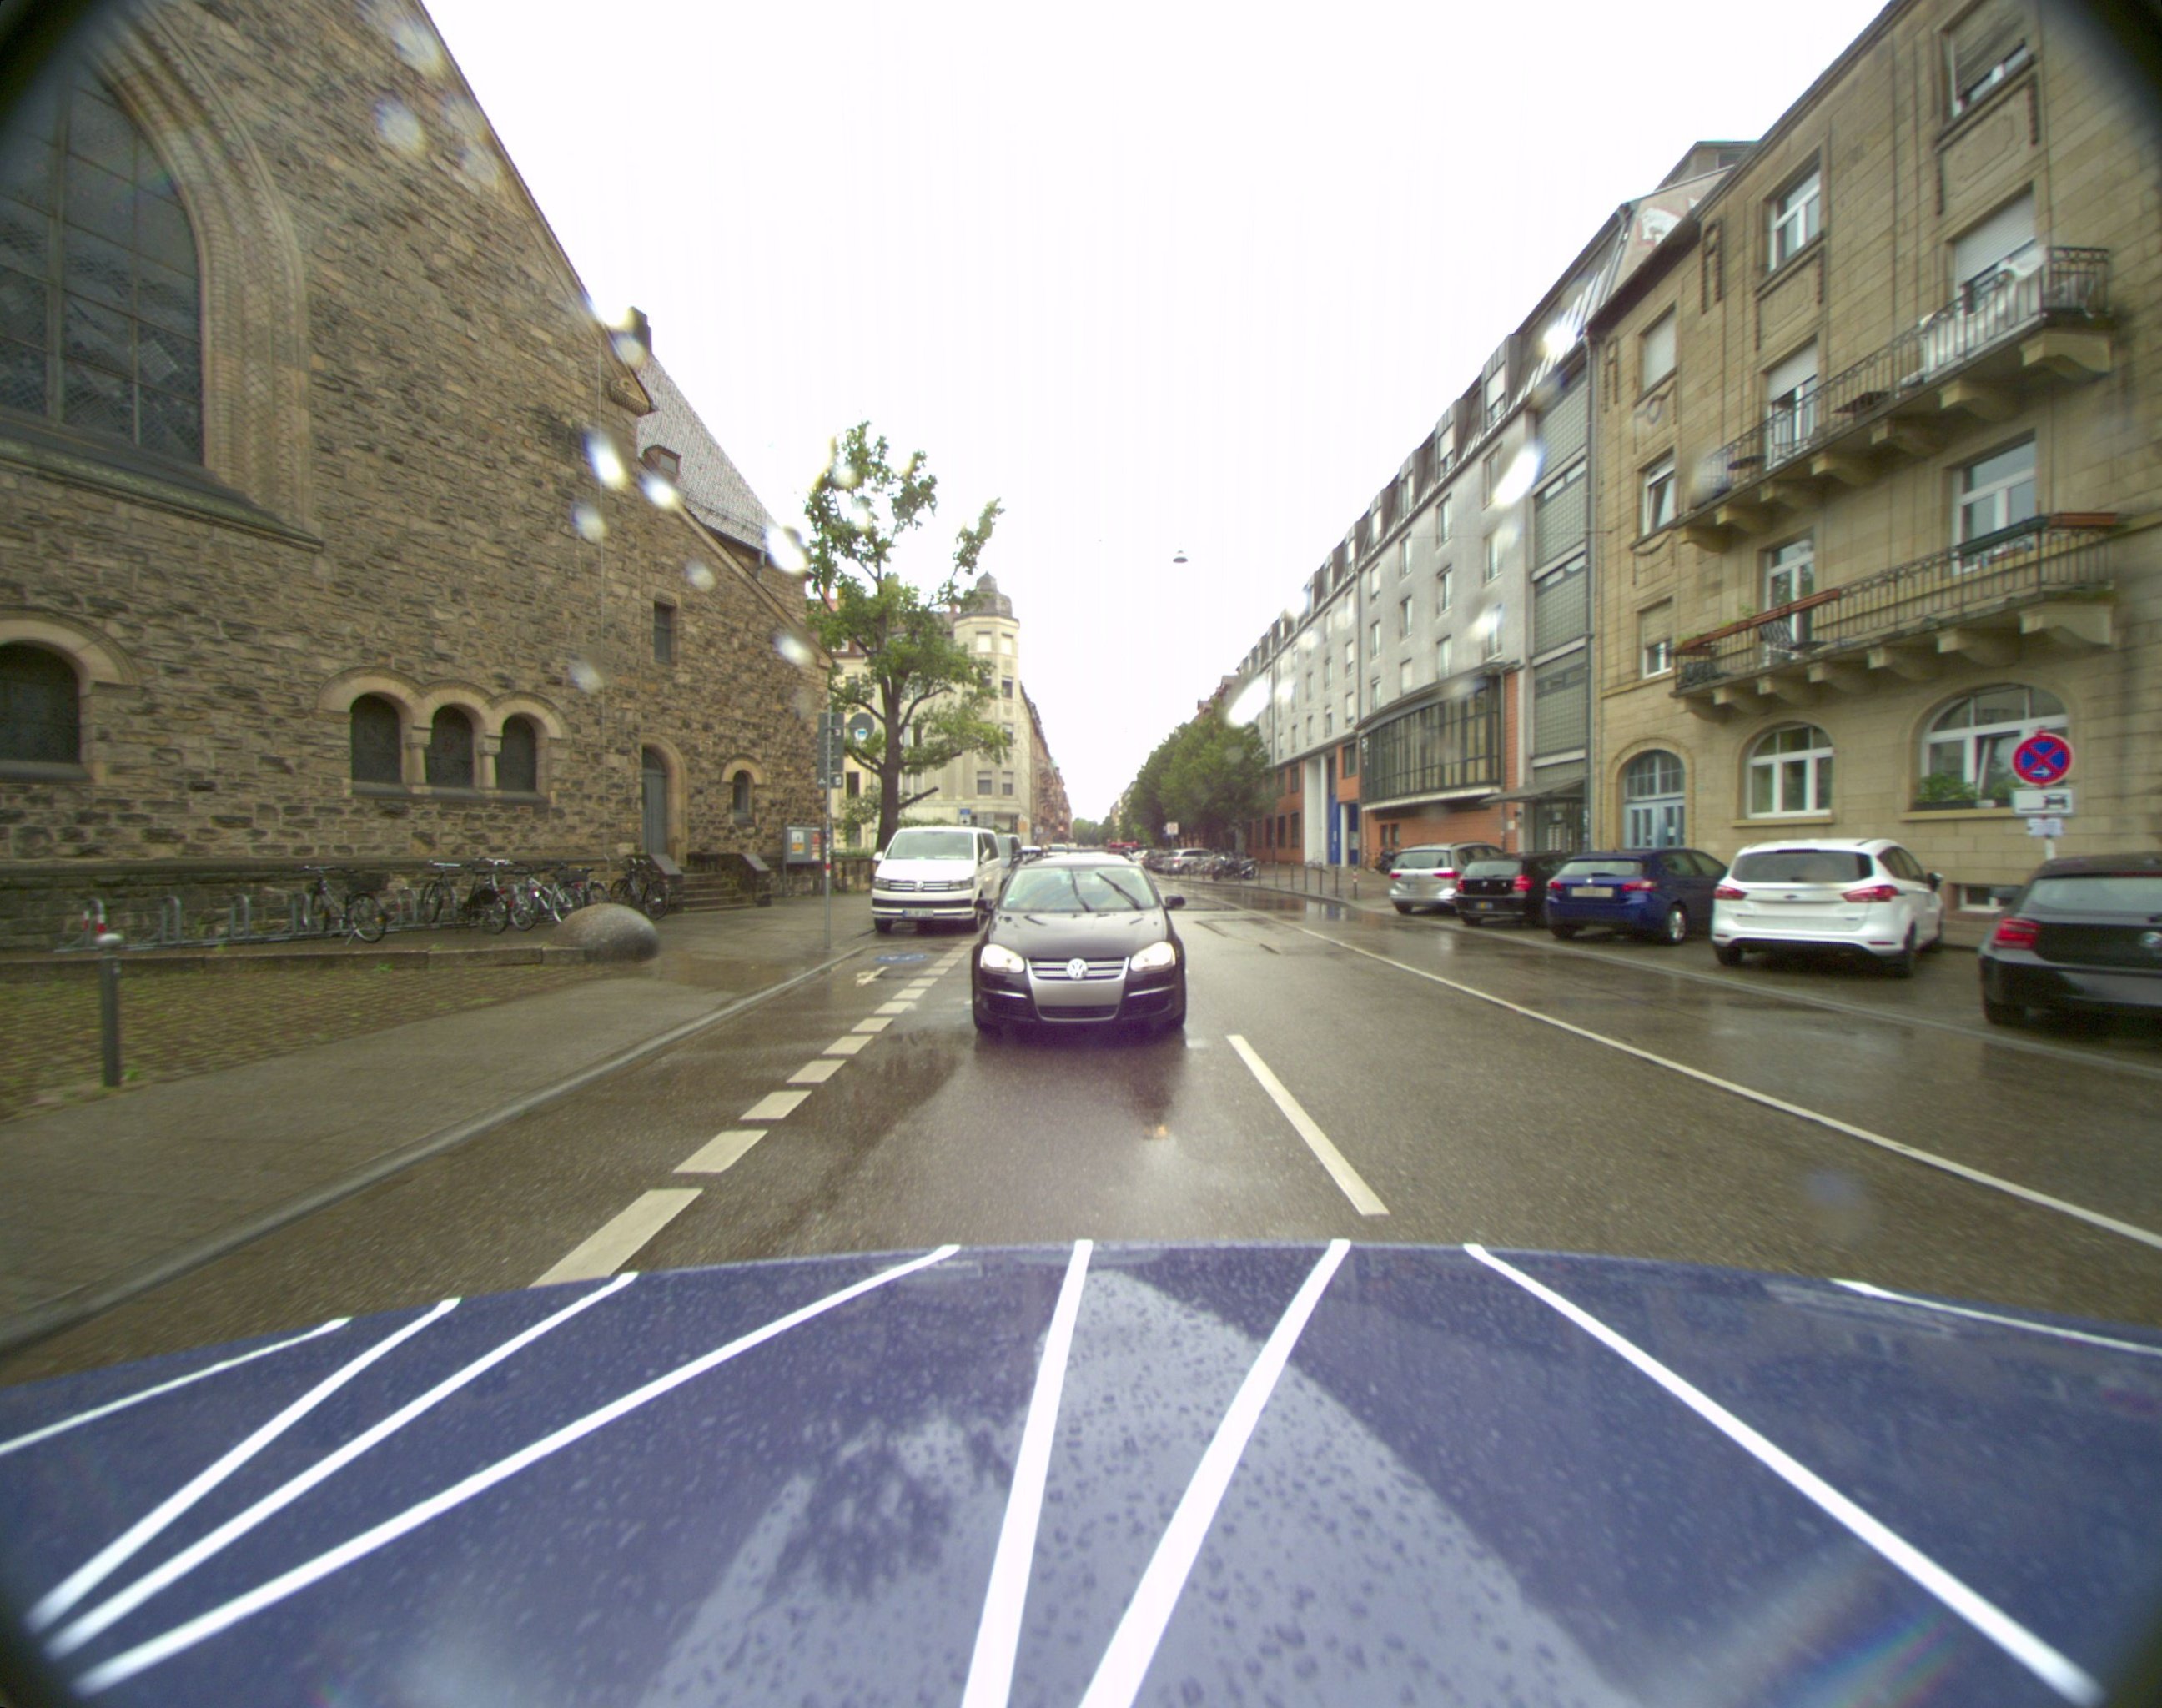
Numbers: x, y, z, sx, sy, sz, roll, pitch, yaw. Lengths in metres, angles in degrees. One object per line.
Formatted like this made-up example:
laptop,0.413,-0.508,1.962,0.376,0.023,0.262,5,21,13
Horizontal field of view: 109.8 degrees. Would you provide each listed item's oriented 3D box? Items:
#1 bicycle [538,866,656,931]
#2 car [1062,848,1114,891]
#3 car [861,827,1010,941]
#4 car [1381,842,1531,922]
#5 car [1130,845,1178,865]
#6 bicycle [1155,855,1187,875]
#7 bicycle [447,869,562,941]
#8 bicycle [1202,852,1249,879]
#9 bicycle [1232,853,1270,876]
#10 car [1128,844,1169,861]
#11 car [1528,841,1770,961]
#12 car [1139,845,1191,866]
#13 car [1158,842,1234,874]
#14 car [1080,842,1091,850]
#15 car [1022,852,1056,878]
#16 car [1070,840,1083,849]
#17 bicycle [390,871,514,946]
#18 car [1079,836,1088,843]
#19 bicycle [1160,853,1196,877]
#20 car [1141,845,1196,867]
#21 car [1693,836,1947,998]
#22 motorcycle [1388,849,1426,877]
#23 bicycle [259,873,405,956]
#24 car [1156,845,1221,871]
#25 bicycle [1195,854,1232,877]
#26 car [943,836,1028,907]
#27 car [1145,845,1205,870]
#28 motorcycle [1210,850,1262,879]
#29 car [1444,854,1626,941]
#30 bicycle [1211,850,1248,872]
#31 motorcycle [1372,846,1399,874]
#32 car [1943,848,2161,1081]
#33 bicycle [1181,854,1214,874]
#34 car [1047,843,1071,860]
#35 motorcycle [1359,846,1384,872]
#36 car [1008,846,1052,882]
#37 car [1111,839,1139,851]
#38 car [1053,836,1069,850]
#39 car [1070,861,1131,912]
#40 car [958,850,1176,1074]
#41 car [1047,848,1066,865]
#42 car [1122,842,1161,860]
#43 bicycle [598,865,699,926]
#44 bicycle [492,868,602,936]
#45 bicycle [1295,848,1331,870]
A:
bicycle,-8.750,0.781,13.714,2.150,1.054,0.679,1,1,23
car,0.269,0.508,27.555,1.766,1.430,3.748,0,1,1
car,-2.693,0.469,15.404,1.909,1.912,5.272,0,1,1
car,9.106,0.580,18.339,3.931,1.720,1.811,0,1,-40
car,6.310,0.062,66.135,3.803,1.705,1.998,0,1,-9
bicycle,4.968,0.608,42.014,1.688,1.067,0.544,2,1,-2
bicycle,-9.392,0.798,12.367,1.923,1.054,0.582,1,1,23
bicycle,6.884,0.525,36.322,2.049,1.165,0.773,-3,1,-2
bicycle,8.345,0.508,37.261,1.687,1.067,0.544,-3,1,-2
car,6.929,-0.173,78.072,3.803,1.705,1.904,0,1,-9
car,9.452,0.648,12.620,3.732,1.519,1.897,-4,3,-30
car,6.881,0.129,62.243,3.803,1.705,1.998,0,1,-9
car,6.870,0.217,45.445,4.005,1.804,1.995,0,1,-26
car,0.981,-1.662,166.380,1.998,1.705,4.375,1,1,5
car,-2.220,0.565,40.717,1.558,1.285,3.662,0,1,1
car,-0.852,-1.771,145.209,1.998,1.705,3.803,1,1,5
bicycle,-9.751,0.813,11.773,1.924,1.054,0.582,1,1,20
car,0.570,-3.586,189.652,1.837,1.827,4.001,1,1,5
bicycle,4.934,0.573,38.812,1.687,1.067,0.544,-5,2,-2
car,6.745,0.153,58.826,3.803,1.705,1.998,0,1,-9
car,9.606,0.654,9.804,3.734,1.617,1.774,-3,1,-37
motorcycle,13.728,0.368,32.061,0.599,1.095,2.362,0,1,1
bicycle,-10.415,0.809,10.561,2.005,1.043,0.577,1,1,18
car,7.045,0.253,50.161,3.803,1.705,1.998,0,1,-9
bicycle,6.489,0.562,37.287,1.687,1.067,0.544,-3,1,-2
car,-2.648,0.428,21.996,1.837,1.835,4.295,0,1,1
car,6.556,0.235,53.241,3.803,1.705,1.998,0,1,-9
motorcycle,7.187,0.482,35.349,2.255,1.302,0.758,-2,1,1
car,9.158,0.767,15.260,3.734,1.519,1.713,0,1,-34
bicycle,7.430,0.337,38.035,1.688,1.067,0.544,0,1,-2
motorcycle,13.737,0.253,34.273,0.546,1.221,1.676,0,1,1
car,9.134,0.780,6.551,3.733,1.535,1.774,-3,1,-34
bicycle,6.289,0.540,41.052,1.688,1.067,0.544,0,1,-2
car,-1.927,-0.224,67.409,1.921,1.471,4.220,0,1,1
motorcycle,13.773,0.215,36.038,0.546,1.221,1.676,0,1,1
car,-2.304,0.416,35.046,1.674,1.541,3.918,0,1,1
car,6.650,-1.380,114.254,3.809,1.705,1.995,0,1,-33
car,-1.894,-1.073,71.800,1.356,1.285,3.013,0,1,1
car,0.526,0.842,21.172,1.547,1.214,3.607,0,1,1
car,-0.068,0.763,7.453,1.547,1.553,4.070,0,1,1
car,-1.893,0.221,60.275,1.356,1.285,3.013,0,1,1
car,6.869,-0.380,86.505,4.006,2.002,1.995,0,1,-27
bicycle,-8.289,0.772,14.540,1.977,1.060,0.607,1,1,23
bicycle,-9.138,0.796,12.989,1.923,1.054,0.582,1,1,23
bicycle,13.698,0.279,44.883,1.901,1.217,0.938,1,1,26
